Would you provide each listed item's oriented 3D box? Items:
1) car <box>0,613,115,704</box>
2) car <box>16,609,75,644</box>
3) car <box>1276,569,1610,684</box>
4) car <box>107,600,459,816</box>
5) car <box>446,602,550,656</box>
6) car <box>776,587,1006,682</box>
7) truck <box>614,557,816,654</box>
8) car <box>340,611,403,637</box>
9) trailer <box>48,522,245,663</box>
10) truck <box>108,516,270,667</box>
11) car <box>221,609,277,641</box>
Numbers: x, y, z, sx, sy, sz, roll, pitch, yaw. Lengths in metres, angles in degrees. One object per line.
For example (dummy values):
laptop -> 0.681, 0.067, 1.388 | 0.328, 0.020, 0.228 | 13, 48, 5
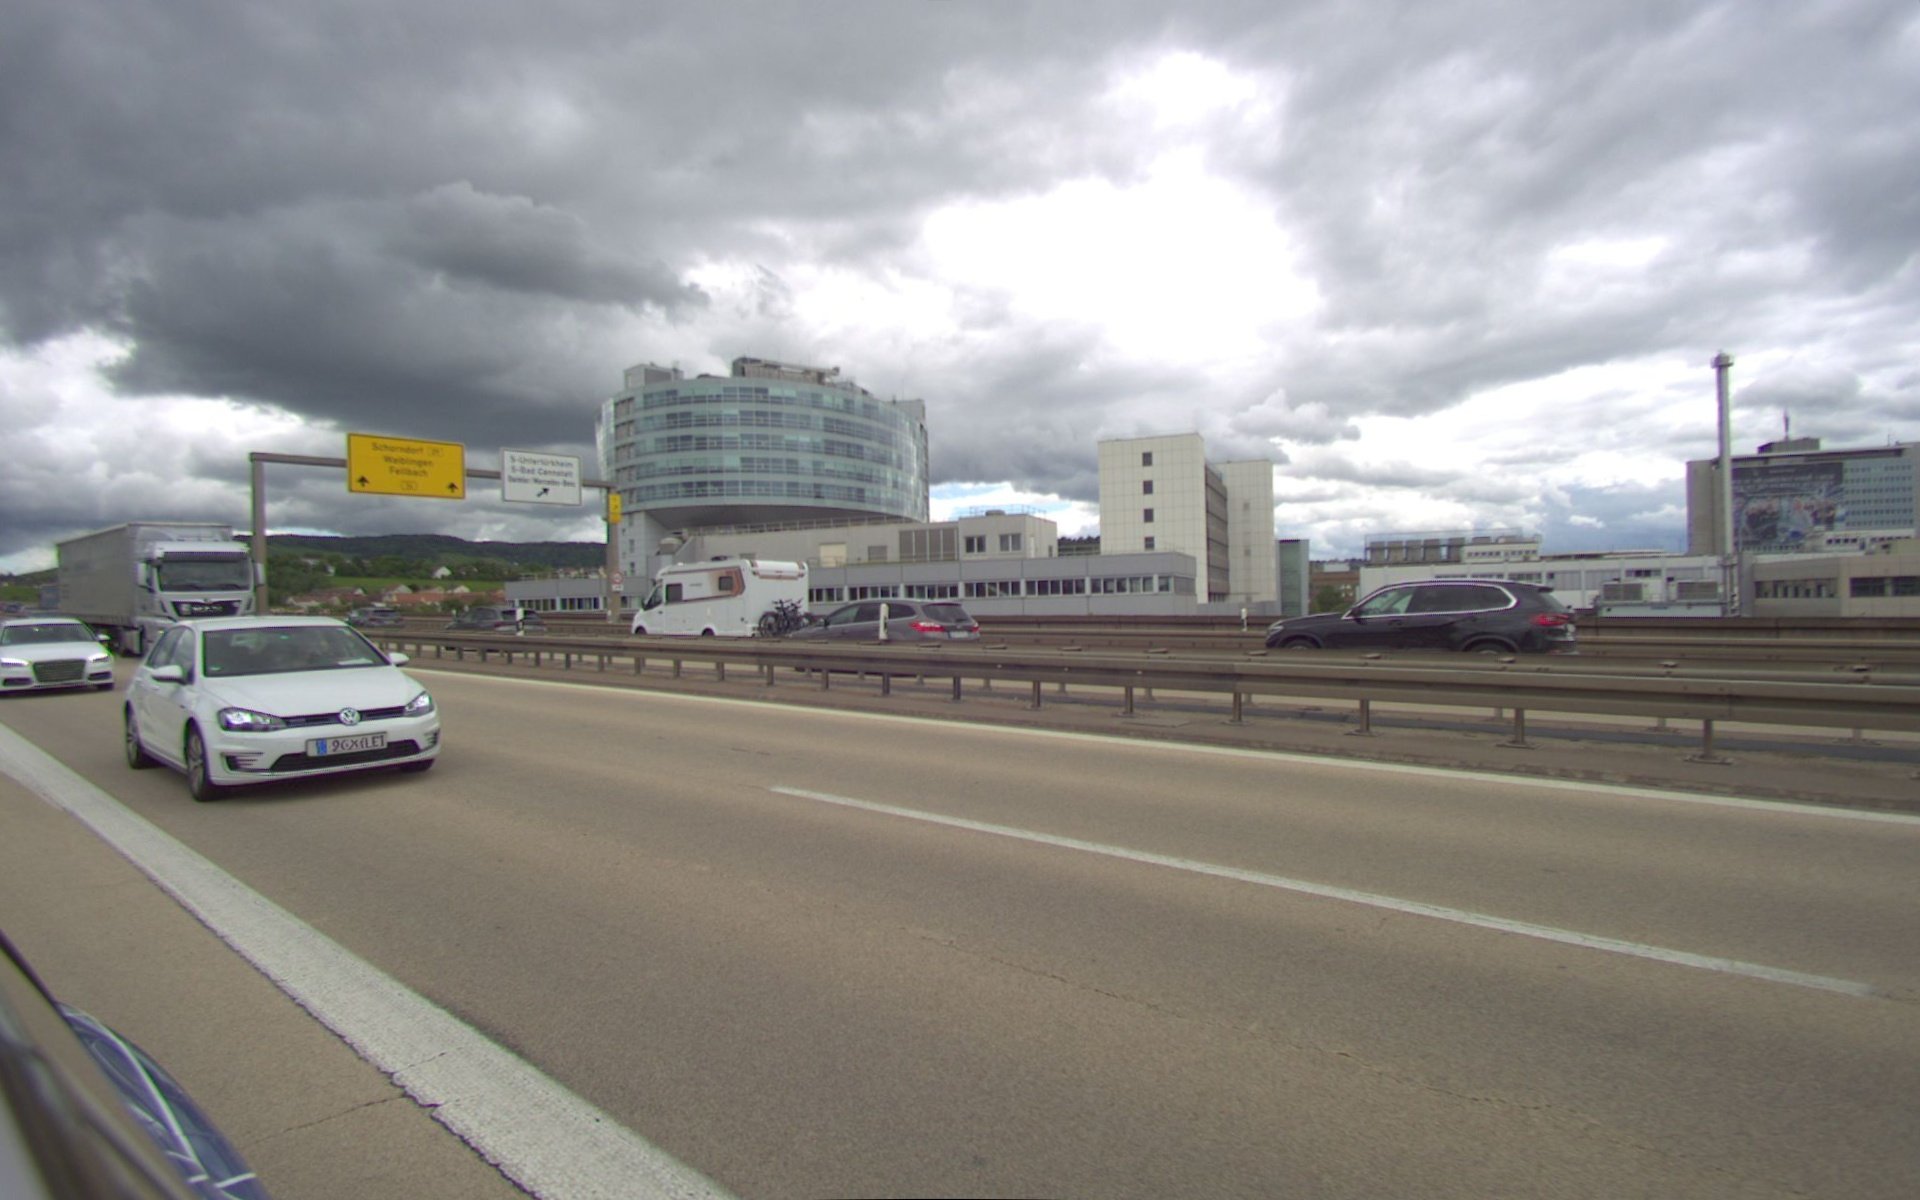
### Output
car -> -18.072, 1.089, 19.836 | 4.000, 1.529, 1.764 | -2, 1, 43
car -> -45.912, 1.326, 50.799 | 4.000, 1.529, 1.764 | -2, 2, 43
car -> 7.872, 0.450, 16.764 | 4.629, 1.648, 1.973 | -2, -2, 41
car -> -6.317, 0.818, 9.262 | 3.998, 1.508, 1.691 | -2, 0, 42
car -> -14.536, 0.917, 31.800 | 3.718, 1.597, 1.627 | -2, -2, 42
car -> -1.440, 0.673, 19.863 | 4.452, 1.648, 1.972 | -2, -2, 42
truck -> -7.687, 0.259, 31.066 | 7.349, 2.646, 2.463 | -2, -3, 44
car -> -29.421, 1.215, 50.551 | 4.282, 1.244, 1.624 | -2, -3, 44
trailer -> -28.236, -0.211, 34.683 | 13.968, 4.041, 2.827 | -1, 1, 41
truck -> -22.823, -0.255, 29.904 | 4.789, 4.041, 2.827 | -1, 1, 41
car -> -36.387, 1.260, 51.776 | 3.643, 1.563, 1.676 | -1, -2, 44
